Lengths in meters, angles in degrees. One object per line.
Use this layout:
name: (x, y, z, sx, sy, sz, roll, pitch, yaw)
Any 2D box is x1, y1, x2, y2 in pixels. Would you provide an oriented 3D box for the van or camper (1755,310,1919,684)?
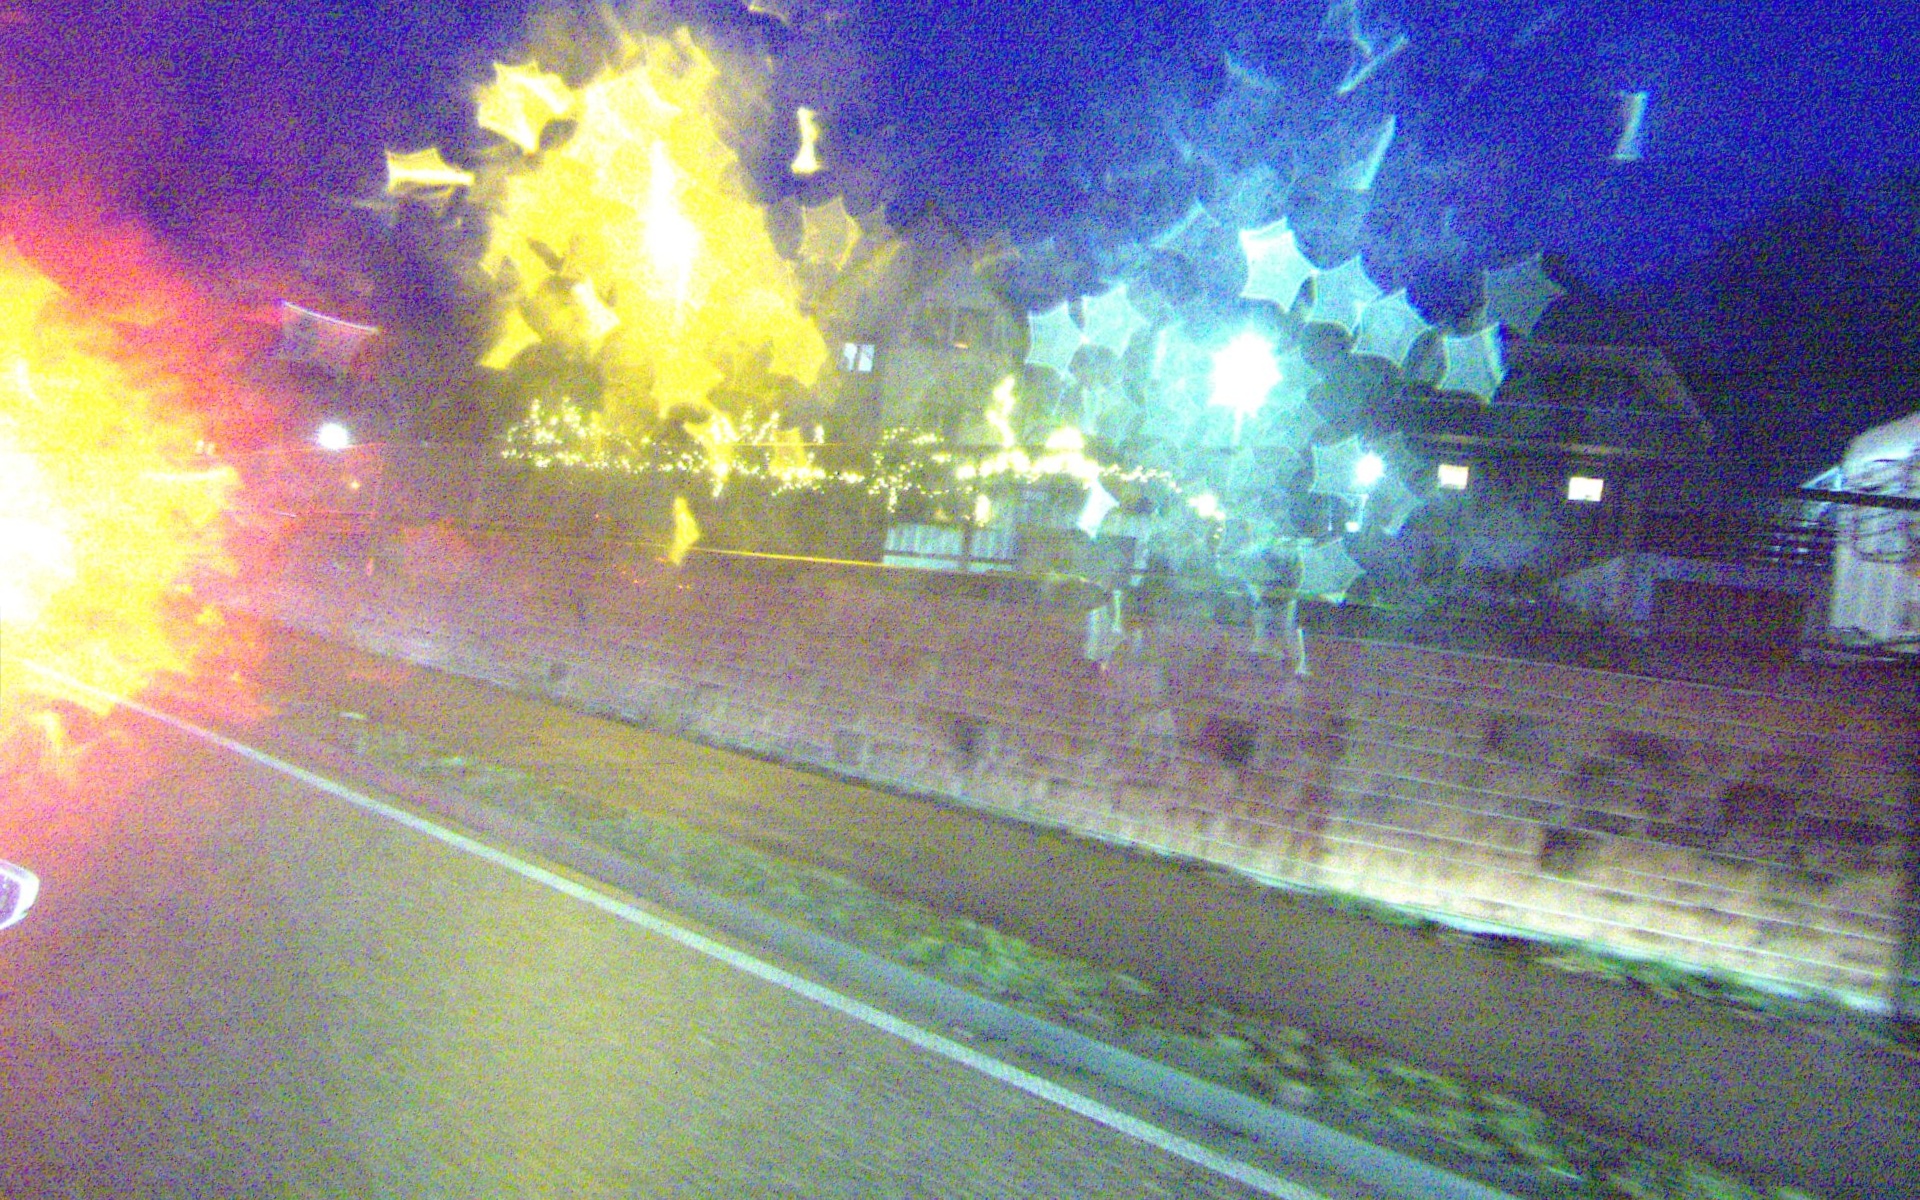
van or camper: (10.760, -0.495, 7.963, 6.237, 2.944, 2.590, 7, 0, 12)
